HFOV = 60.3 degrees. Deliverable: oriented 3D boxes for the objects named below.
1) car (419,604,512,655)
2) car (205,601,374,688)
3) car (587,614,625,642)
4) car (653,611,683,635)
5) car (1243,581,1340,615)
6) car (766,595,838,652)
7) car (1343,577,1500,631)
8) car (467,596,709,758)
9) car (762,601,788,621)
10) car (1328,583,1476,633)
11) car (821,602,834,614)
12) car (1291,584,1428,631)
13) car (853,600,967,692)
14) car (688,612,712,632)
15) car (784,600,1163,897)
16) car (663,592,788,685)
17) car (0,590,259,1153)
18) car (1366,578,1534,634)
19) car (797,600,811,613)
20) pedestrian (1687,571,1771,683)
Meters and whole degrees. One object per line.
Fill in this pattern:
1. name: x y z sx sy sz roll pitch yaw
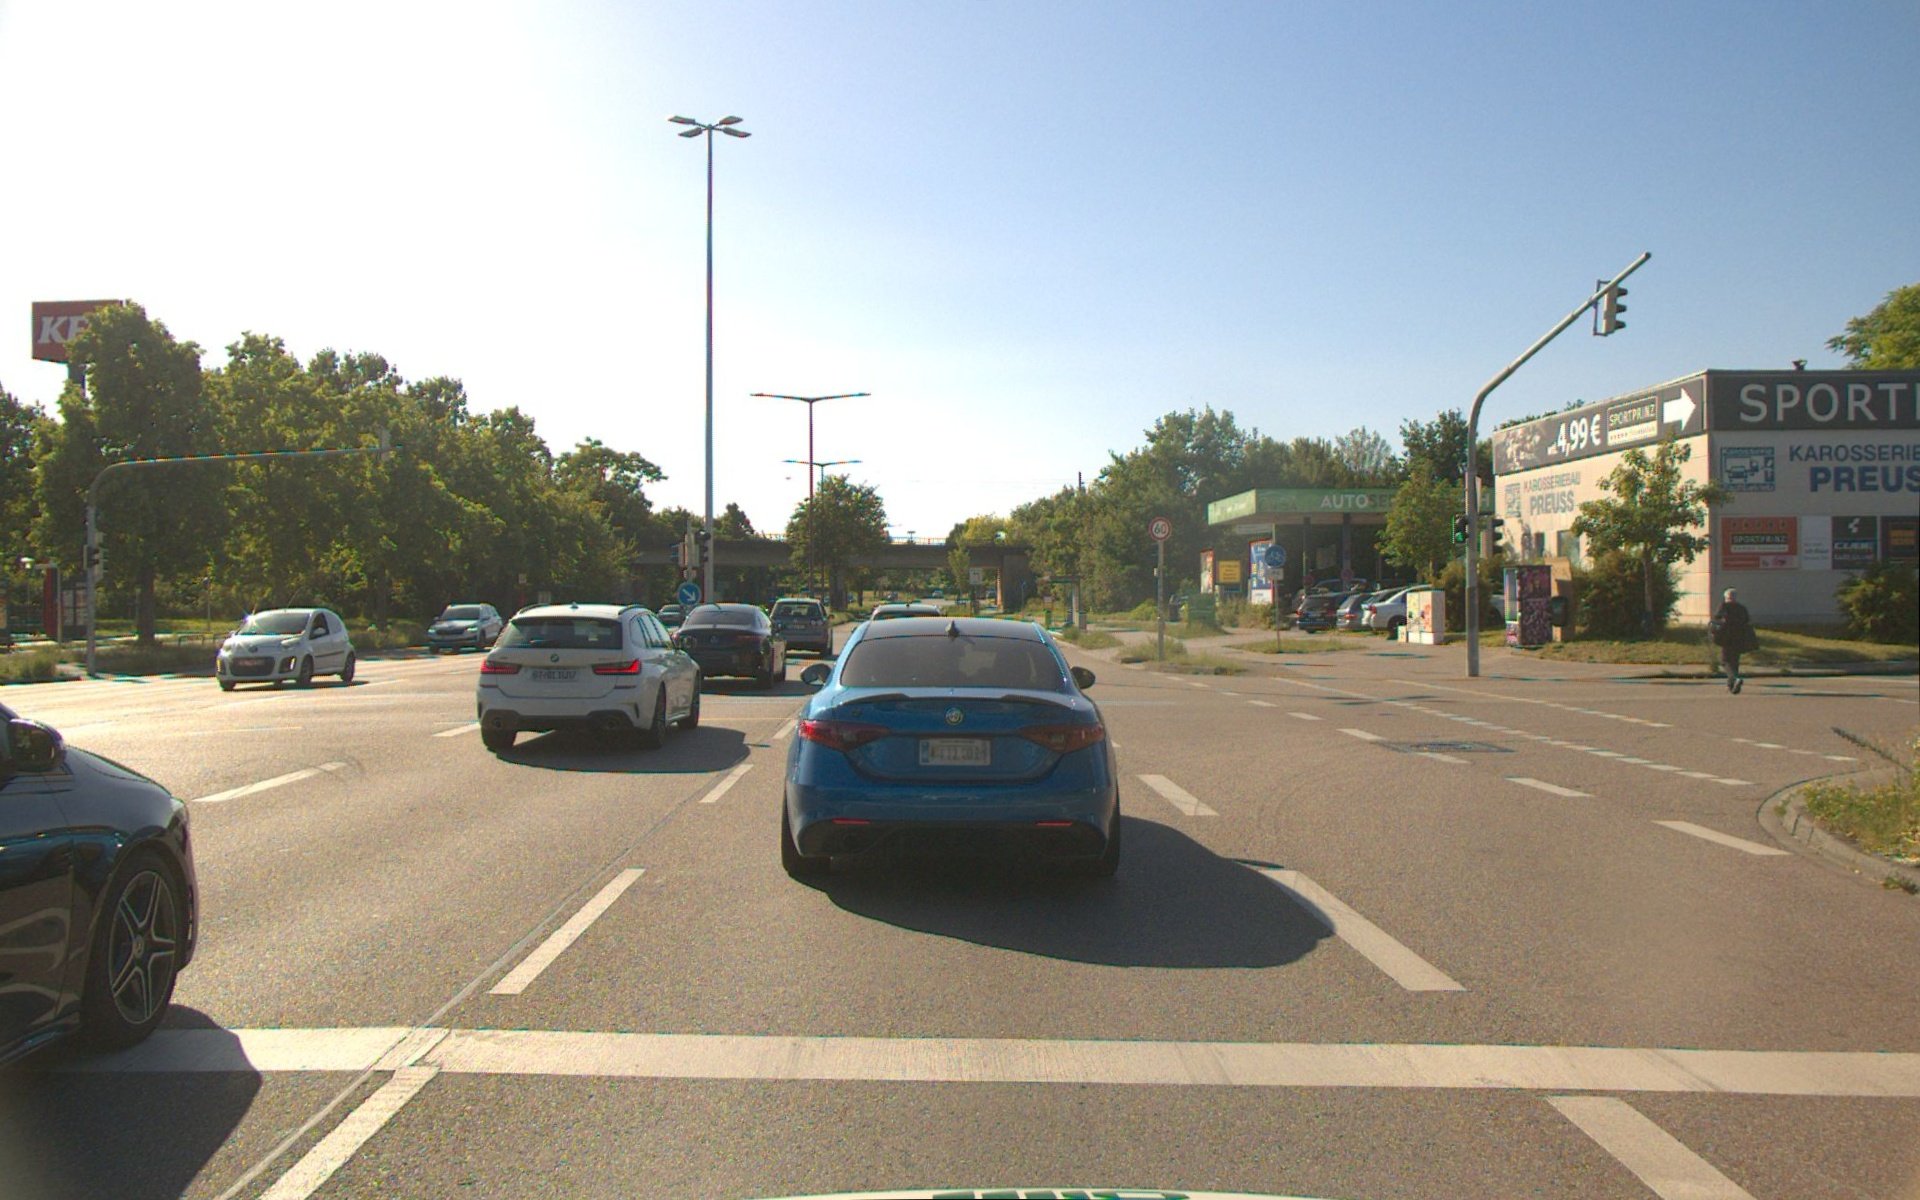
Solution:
1. car: -17.327 1.008 58.204 1.948 1.658 4.477 -2 0 -1
2. car: -12.914 0.828 32.099 1.723 1.516 3.836 -2 0 -1
3. car: -20.949 1.658 98.048 1.583 1.587 3.356 1 -1 -1
4. car: -21.037 1.649 119.412 1.577 1.675 3.461 1 -1 -1
5. car: 16.423 -0.091 82.040 4.458 1.516 1.765 -2 -1 0
6. car: -4.421 0.657 46.739 1.724 1.516 4.401 1 -1 -2
7. car: 14.456 0.129 52.007 4.397 1.479 1.858 -2 -1 0
8. car: -3.884 0.763 17.998 1.749 1.516 4.401 1 -1 -2
9. car: -15.413 0.929 137.877 1.723 1.516 4.477 -2 0 -1
10. car: 14.637 0.265 54.972 4.397 1.479 1.858 -2 -1 0
11. car: -18.594 1.070 231.658 1.539 1.646 3.999 1 -1 -1
12. car: 14.140 0.255 58.757 4.397 1.479 1.858 -2 -1 0
13. car: -0.881 0.760 28.751 1.813 1.443 4.401 1 -1 -2
14. car: -22.243 1.851 141.445 1.577 1.675 3.461 1 -1 -1
15. car: -0.008 0.763 10.396 1.857 1.443 4.401 1 -1 -2
16. car: -4.148 0.674 29.868 1.760 1.516 4.473 1 -1 -2
17. car: -3.422 0.722 4.049 1.724 1.516 4.400 0 -1 -3
18. car: 14.554 0.192 49.291 4.397 1.479 1.858 -2 -1 0
19. car: -20.178 0.828 213.702 1.539 1.646 3.999 1 -1 -1
20. pedestrian: 12.426 0.435 26.759 0.906 1.766 0.938 1 -1 -1
